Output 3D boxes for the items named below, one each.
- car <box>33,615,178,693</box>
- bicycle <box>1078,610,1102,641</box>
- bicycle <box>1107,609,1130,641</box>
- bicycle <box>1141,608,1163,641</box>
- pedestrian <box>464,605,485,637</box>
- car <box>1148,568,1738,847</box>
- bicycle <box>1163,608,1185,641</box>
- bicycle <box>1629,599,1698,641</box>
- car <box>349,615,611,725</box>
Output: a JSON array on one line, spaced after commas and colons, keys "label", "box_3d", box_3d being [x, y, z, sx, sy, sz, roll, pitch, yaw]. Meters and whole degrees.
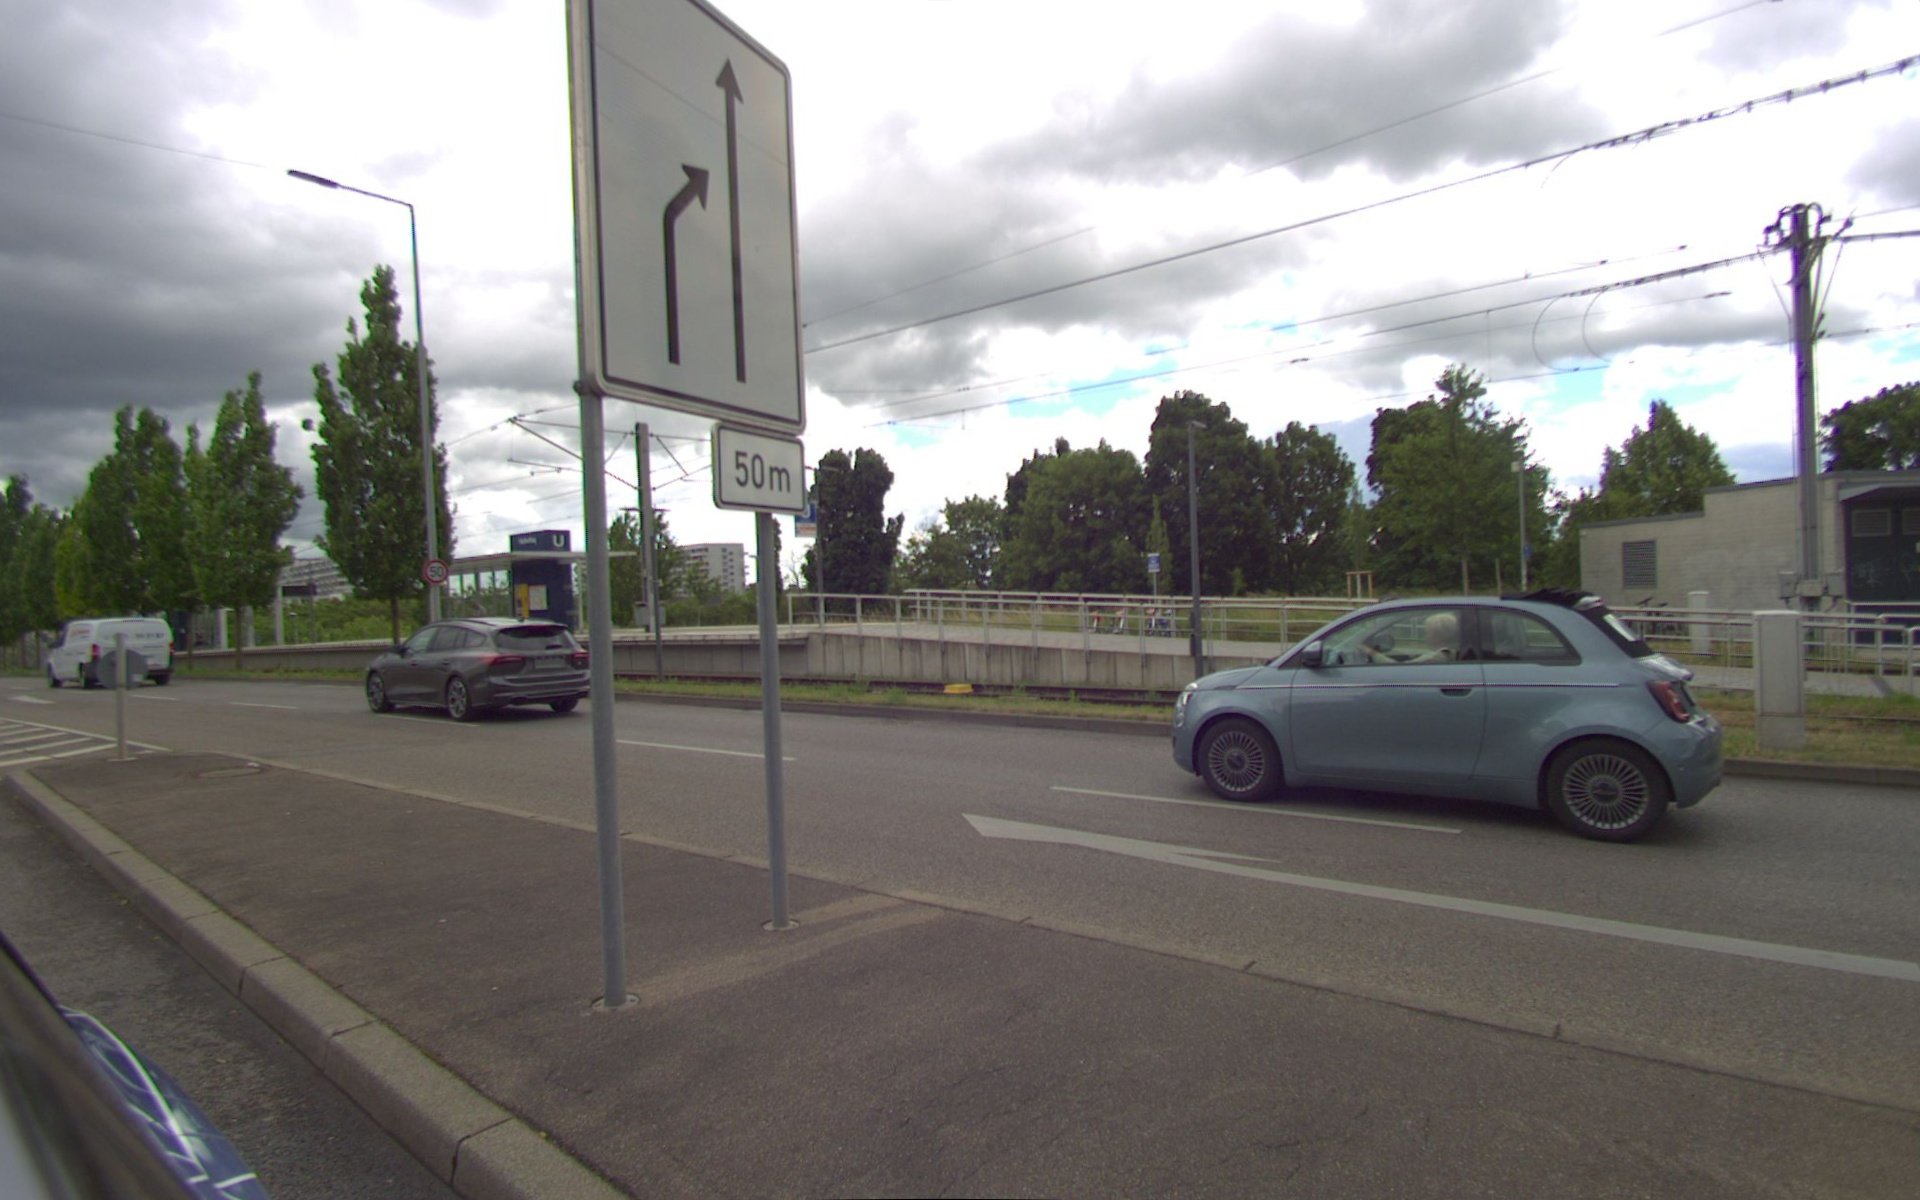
[{"label": "car", "box_3d": [-24.161, 1.428, 28.543, 5.362, 1.979, 1.898, -1, 0, 36]}, {"label": "bicycle", "box_3d": [4.479, 0.864, 34.842, 0.531, 1.039, 1.804, -1, 0, 16]}, {"label": "bicycle", "box_3d": [5.394, 0.842, 34.445, 0.531, 1.039, 1.804, -1, 0, 16]}, {"label": "bicycle", "box_3d": [6.450, 0.814, 33.992, 0.531, 1.039, 1.804, -1, 0, 16]}, {"label": "pedestrian", "box_3d": [-18.223, 0.788, 38.005, 0.447, 1.163, 0.593, -1, 0, 41]}, {"label": "car", "box_3d": [3.400, 0.601, 7.393, 3.596, 1.540, 1.739, -1, 0, 39]}, {"label": "bicycle", "box_3d": [7.130, 0.791, 33.692, 0.531, 1.039, 1.804, -1, 0, 16]}, {"label": "bicycle", "box_3d": [18.116, 0.495, 26.107, 0.529, 1.039, 1.813, -1, 0, 1]}, {"label": "car", "box_3d": [-7.505, 0.963, 15.655, 4.426, 1.435, 1.853, -1, 0, 38]}]
